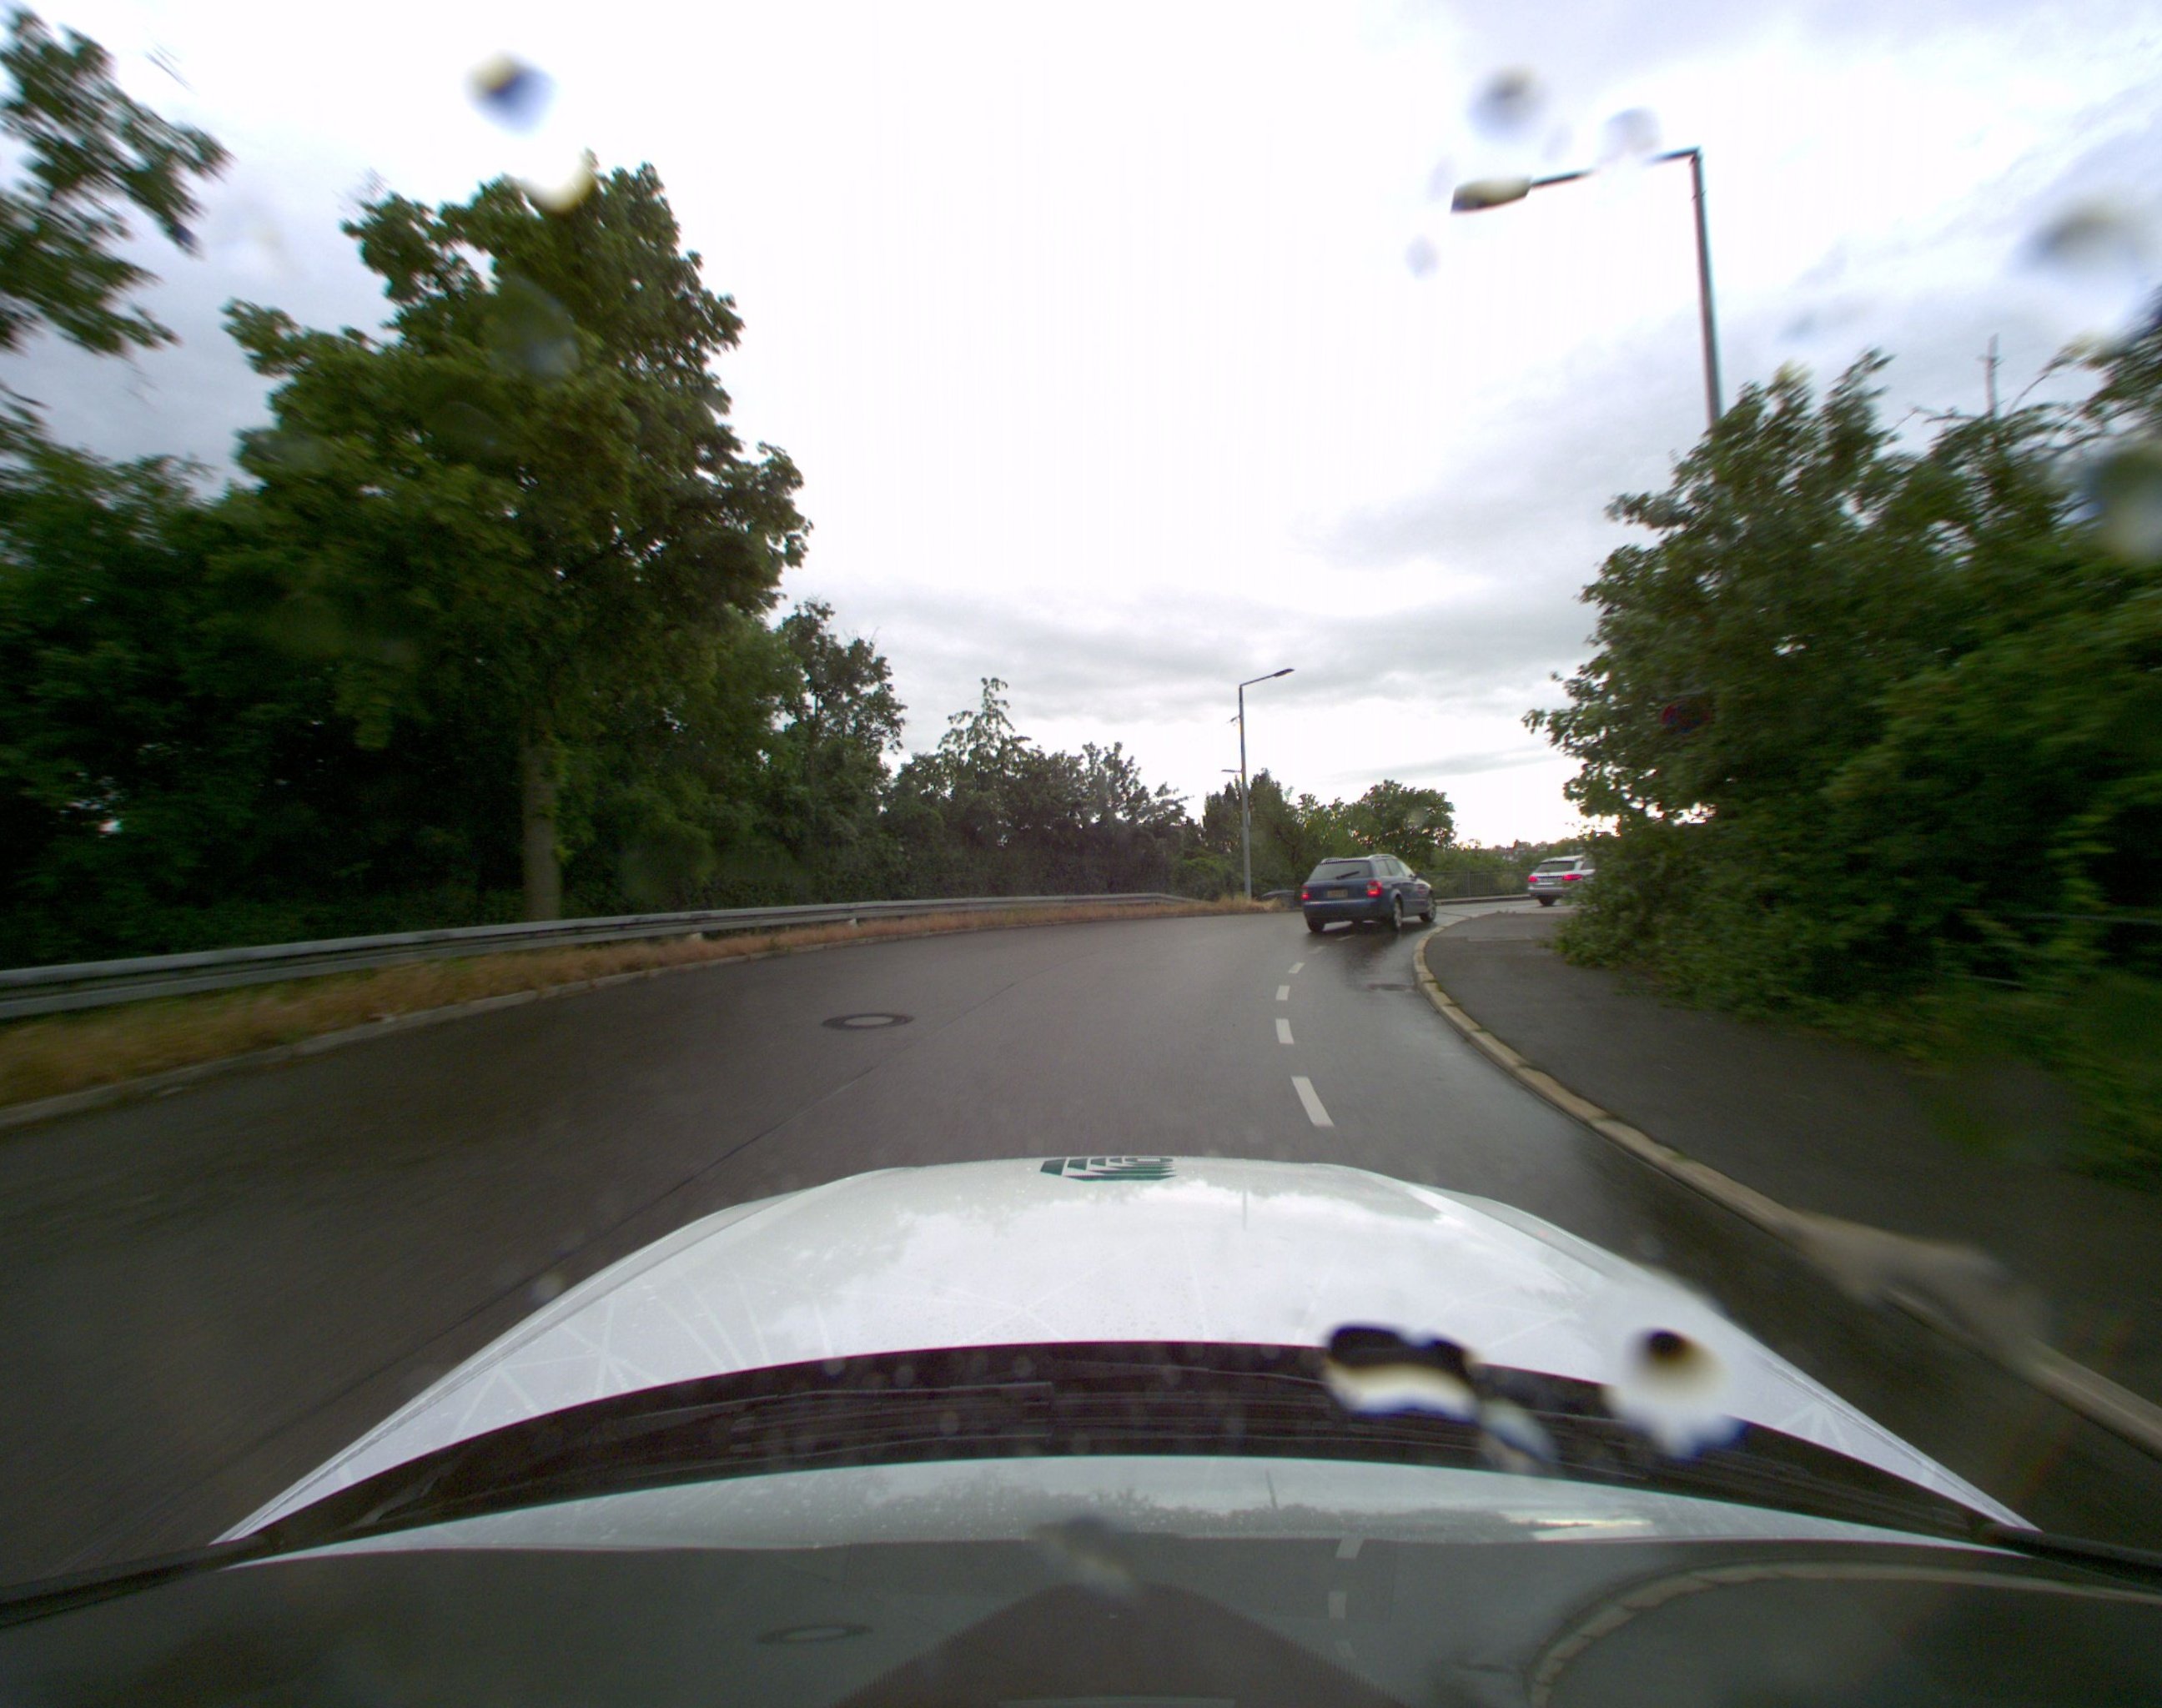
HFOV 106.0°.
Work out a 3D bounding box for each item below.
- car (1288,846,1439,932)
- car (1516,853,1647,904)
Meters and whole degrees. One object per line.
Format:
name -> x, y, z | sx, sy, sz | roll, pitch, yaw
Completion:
car -> 5.854, 0.634, 16.560 | 1.730, 1.407, 4.026 | -3, 1, 36
car -> 15.331, 0.711, 24.908 | 4.015, 1.389, 1.877 | -1, -1, -33
